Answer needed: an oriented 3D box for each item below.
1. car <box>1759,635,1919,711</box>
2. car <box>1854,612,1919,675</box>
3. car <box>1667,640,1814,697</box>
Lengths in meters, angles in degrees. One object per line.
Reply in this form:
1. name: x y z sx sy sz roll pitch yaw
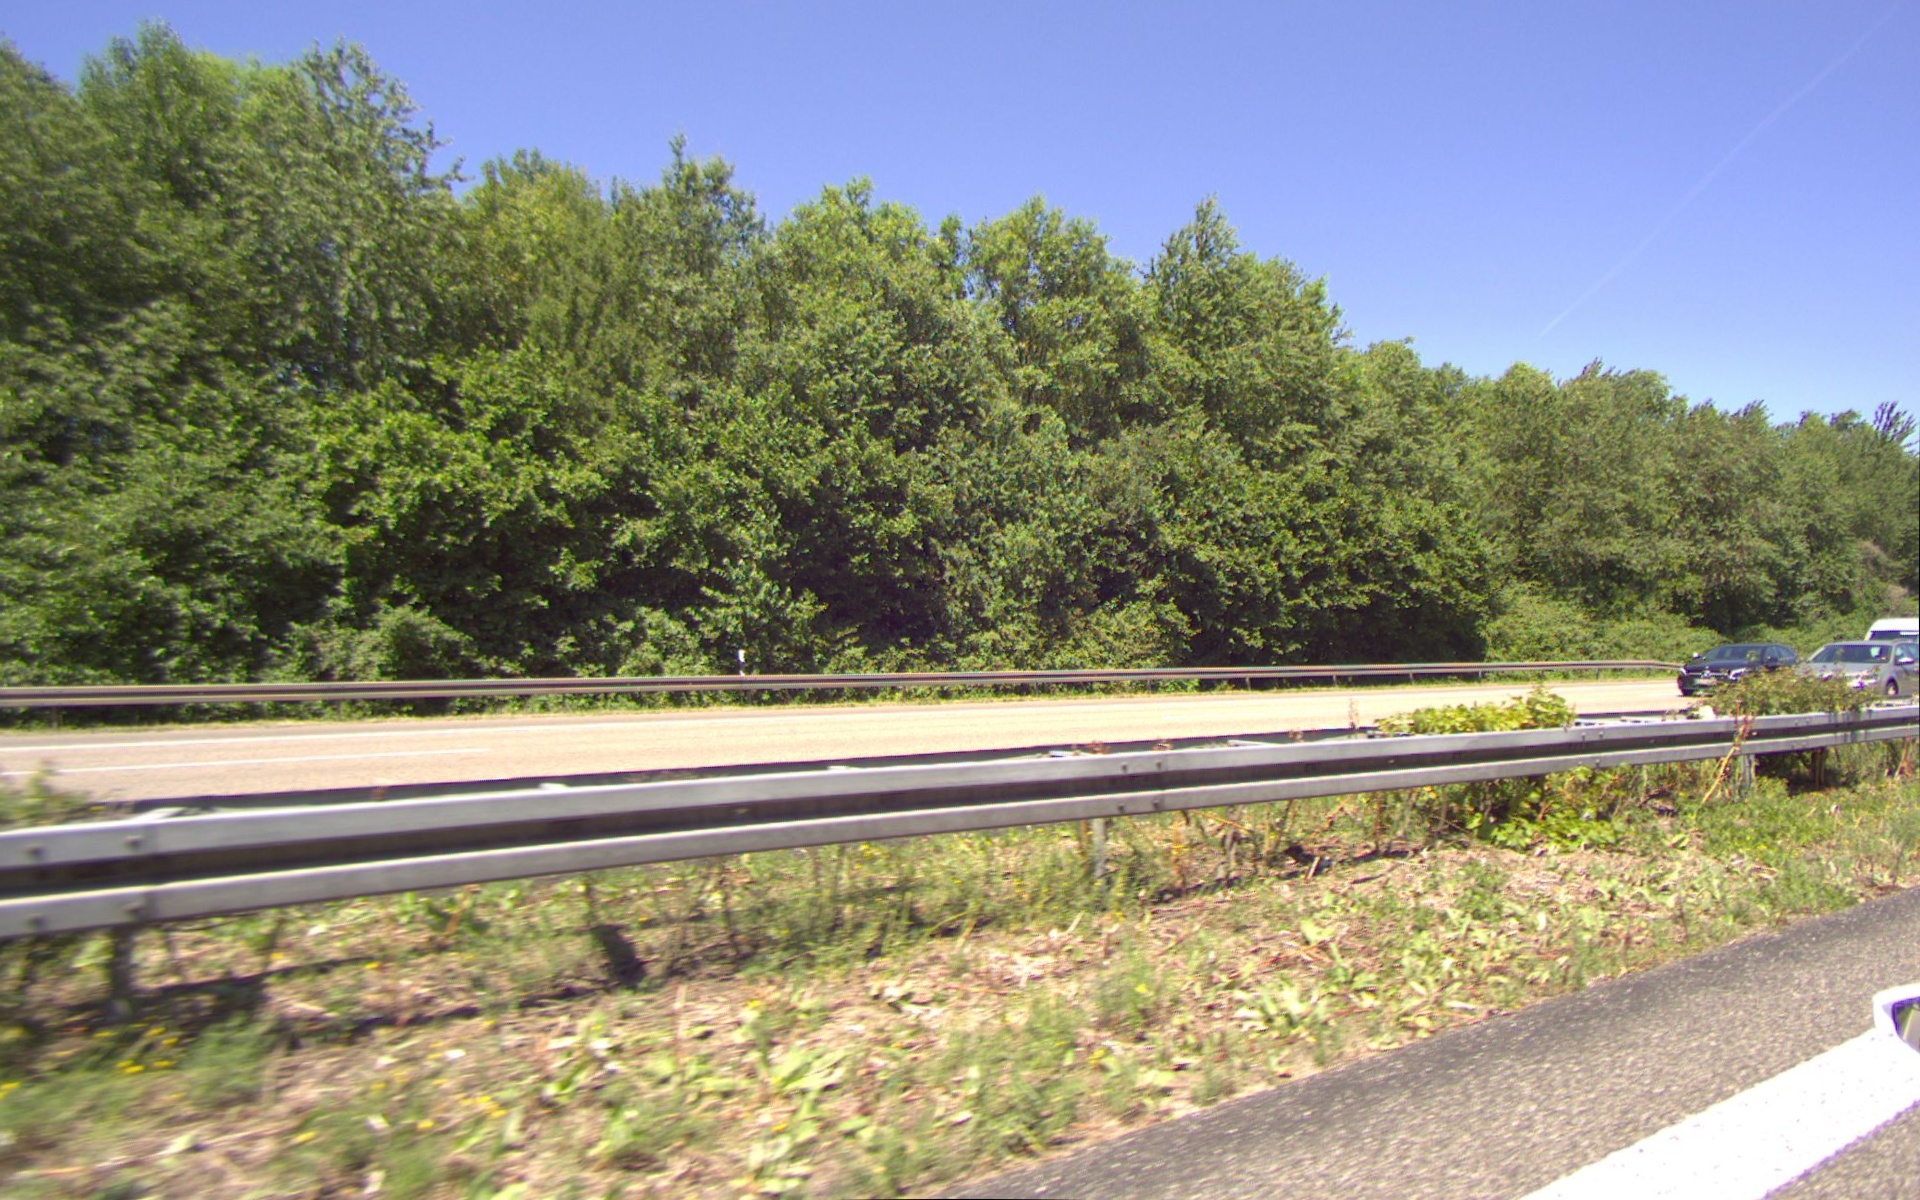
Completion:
1. car: 19.452 1.511 21.732 4.817 1.469 1.839 1 -2 -31
2. car: 41.604 1.900 43.846 6.154 2.586 2.077 1 -2 -30
3. car: 21.527 1.833 27.660 4.653 1.421 1.659 2 -2 -31
